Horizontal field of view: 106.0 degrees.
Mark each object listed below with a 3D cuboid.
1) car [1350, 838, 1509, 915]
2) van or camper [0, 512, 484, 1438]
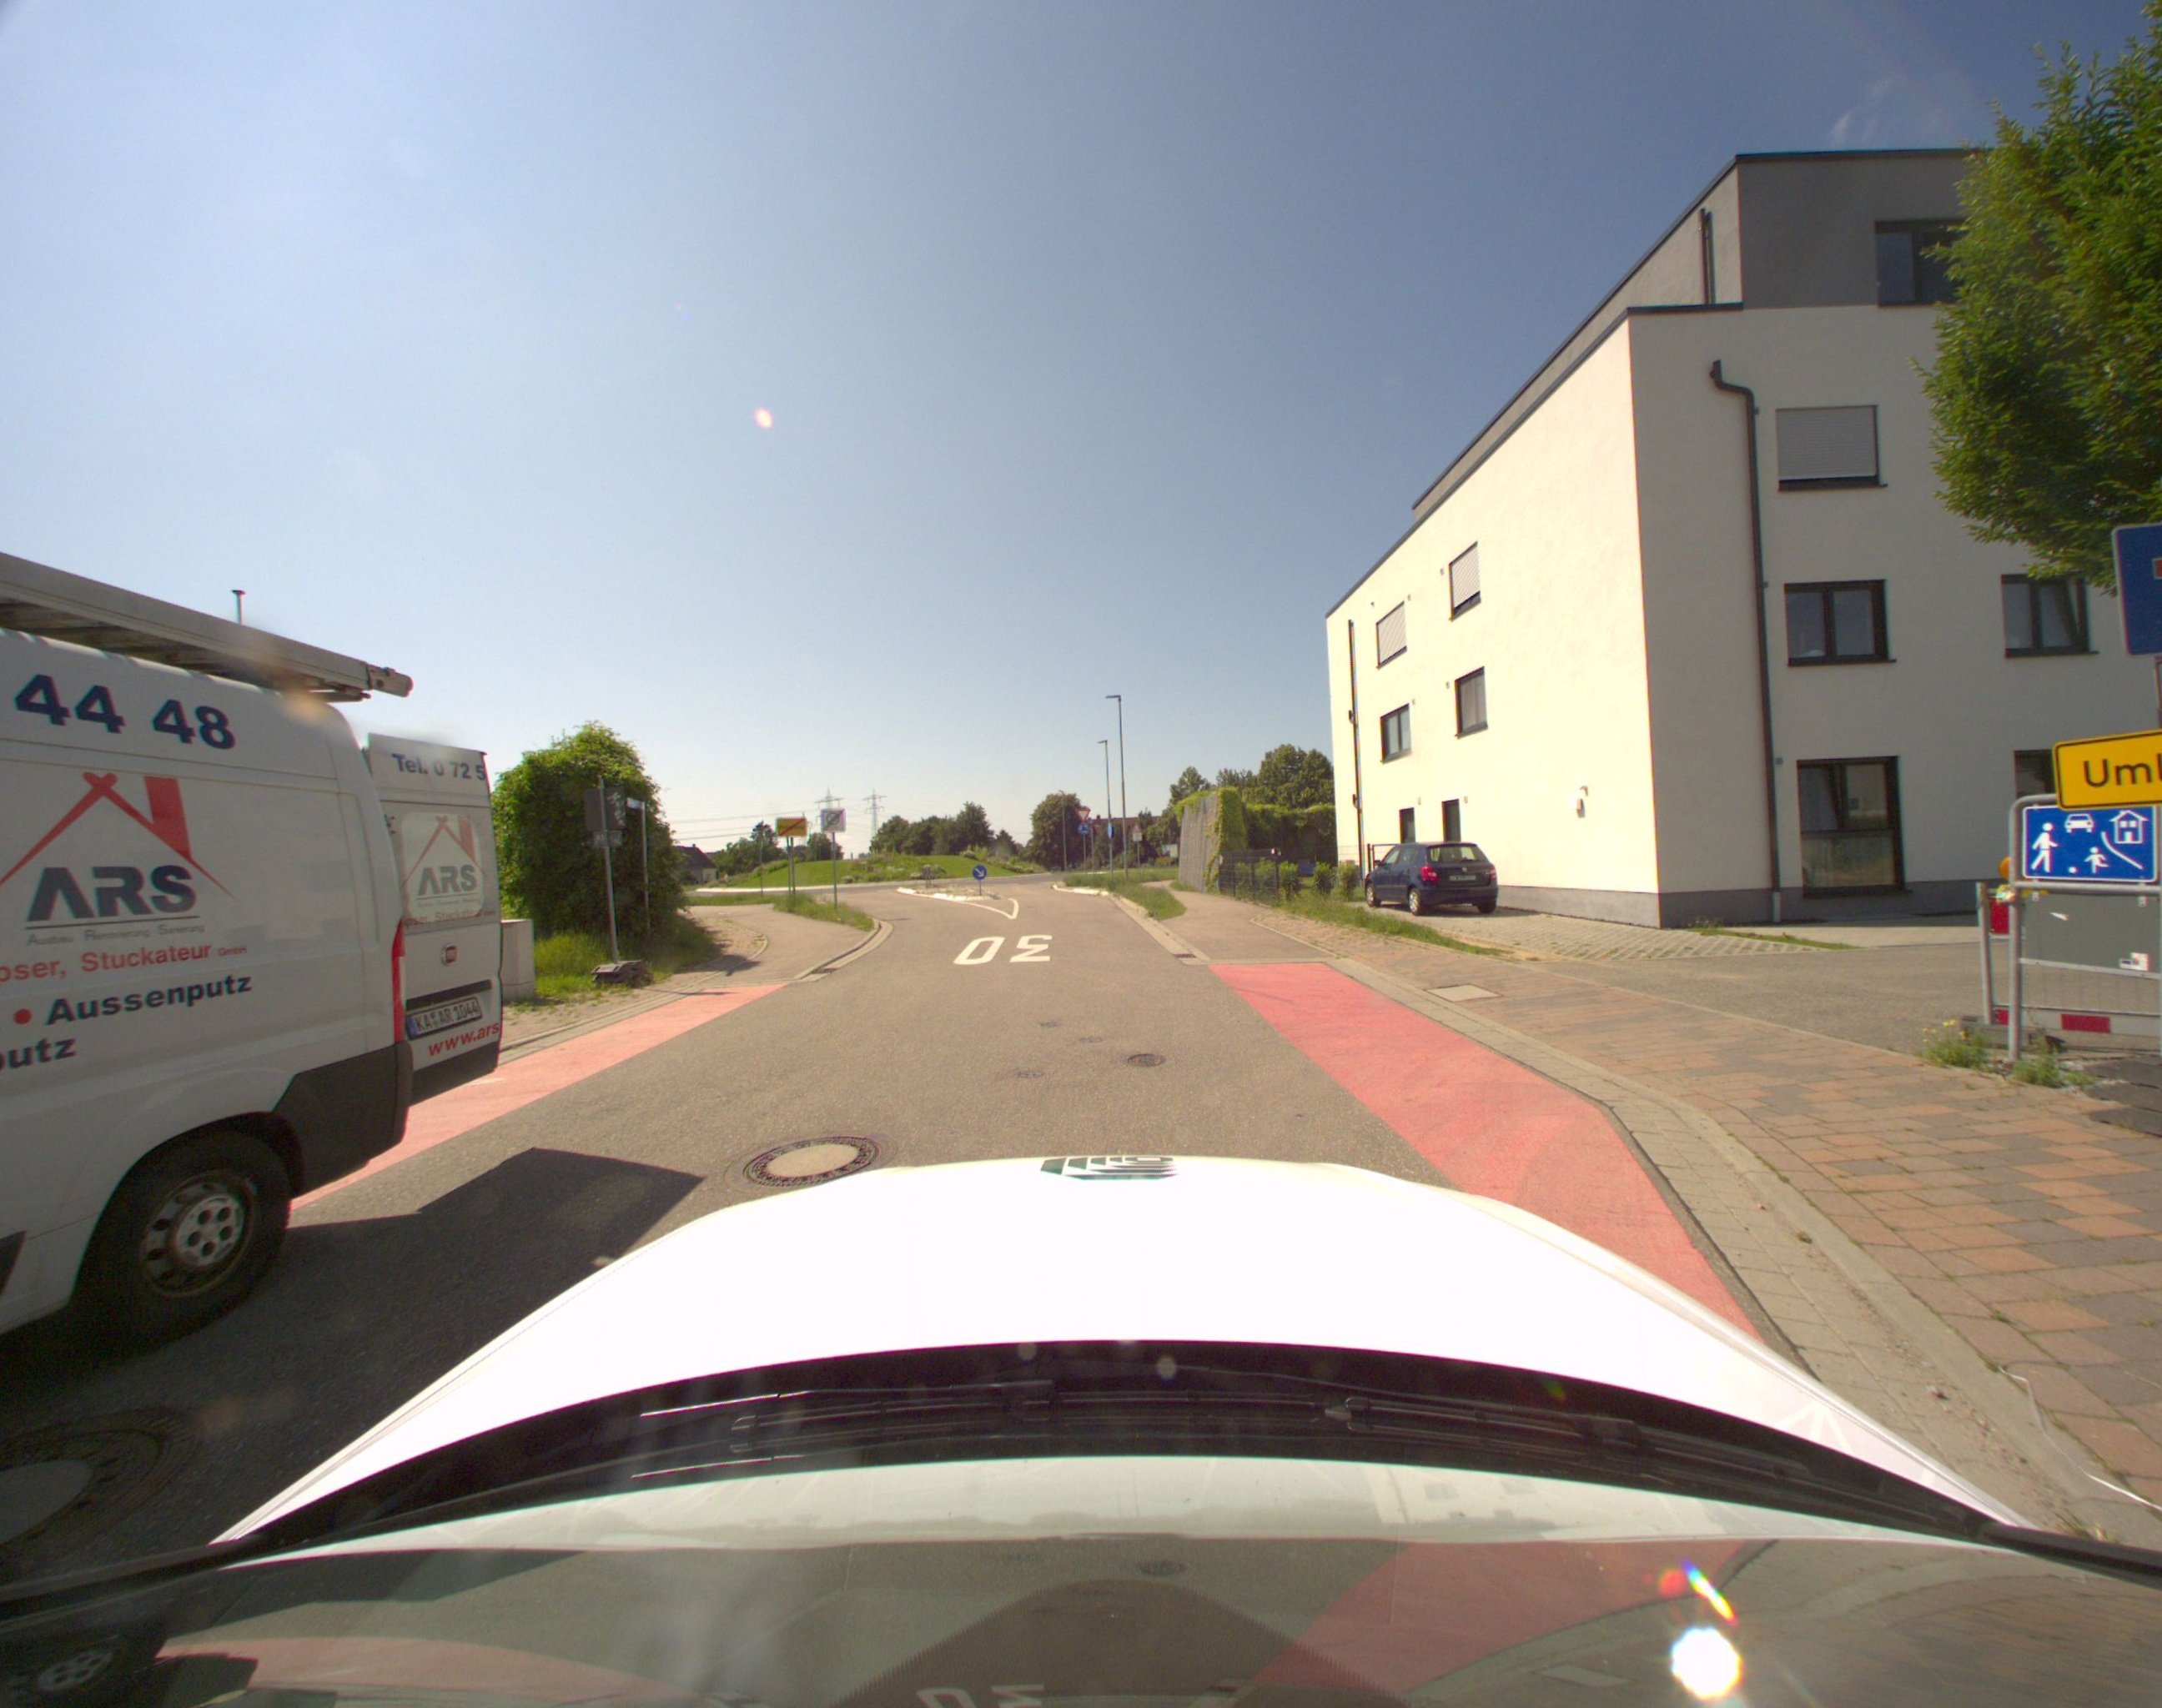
[{"bbox_3d":[7.493,0.430,17.967,1.672,1.469,4.115,-2,0,-1],"label":"car"},{"bbox_3d":[-4.033,0.340,0.946,2.269,2.553,6.357,-3,-1,-4],"label":"van or camper"}]
